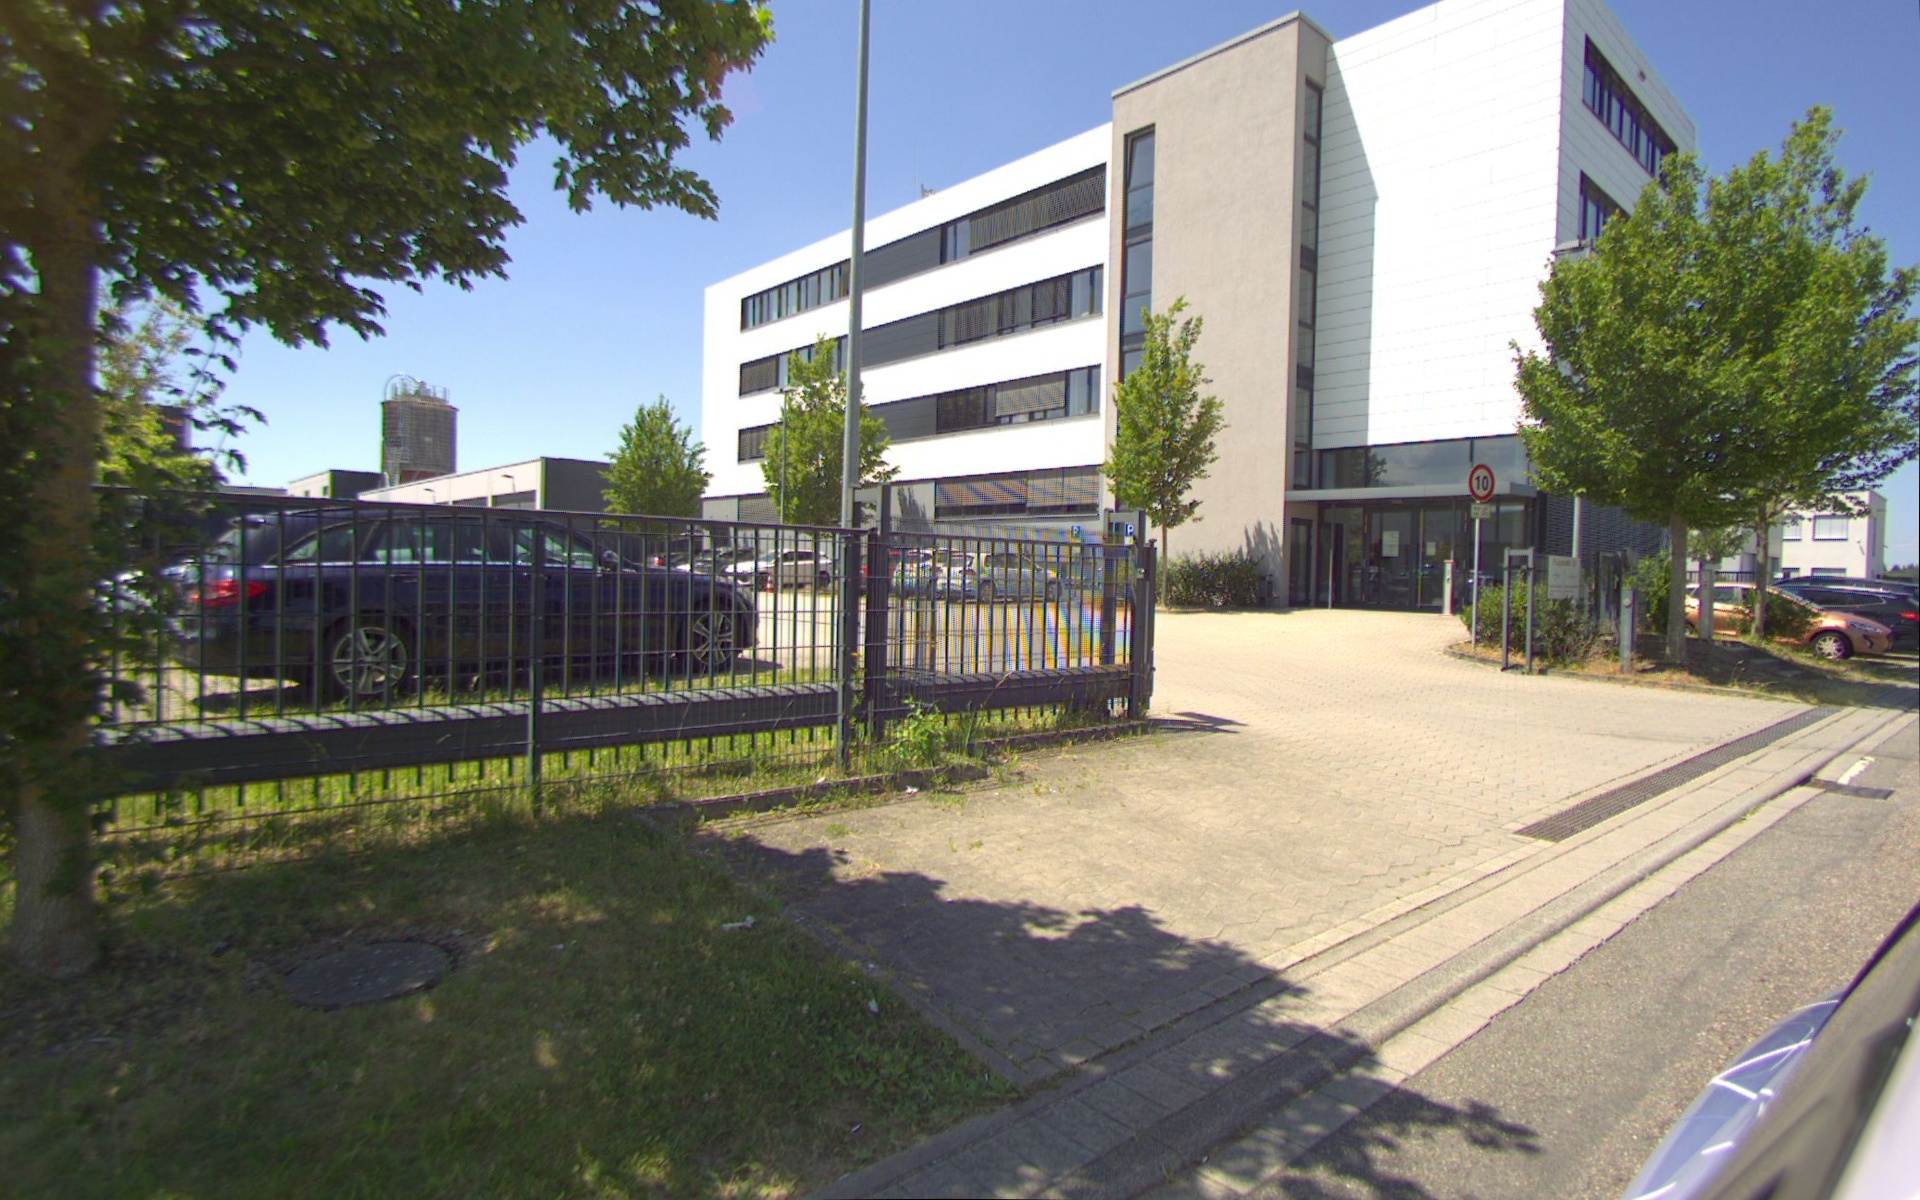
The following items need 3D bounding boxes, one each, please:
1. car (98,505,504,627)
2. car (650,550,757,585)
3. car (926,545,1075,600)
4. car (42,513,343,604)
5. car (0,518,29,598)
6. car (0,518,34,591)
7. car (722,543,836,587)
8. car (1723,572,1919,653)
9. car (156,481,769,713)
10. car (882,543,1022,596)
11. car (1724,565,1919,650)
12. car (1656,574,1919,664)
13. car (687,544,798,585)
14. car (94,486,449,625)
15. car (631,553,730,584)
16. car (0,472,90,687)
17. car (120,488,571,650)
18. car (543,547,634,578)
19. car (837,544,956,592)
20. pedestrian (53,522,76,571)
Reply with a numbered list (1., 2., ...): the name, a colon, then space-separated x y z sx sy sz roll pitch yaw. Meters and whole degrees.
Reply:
1. car: -9.159 -0.518 14.349 4.574 1.450 1.841 -3 4 -43
2. car: -10.697 -1.368 42.332 4.043 1.374 1.618 -1 4 -41
3. car: 1.219 -0.824 29.416 4.148 1.478 1.810 -1 4 -39
4. car: -14.667 -0.830 19.514 4.442 1.552 1.914 -3 4 -43
5. car: -21.112 -0.908 19.968 4.007 1.604 1.914 1 1 -43
6. car: -22.963 -1.063 22.097 4.007 1.604 1.914 1 1 -43
7. car: -6.847 -1.327 38.535 4.043 1.570 1.618 -1 4 -41
8. car: 19.151 0.233 22.083 1.752 1.513 3.718 0 3 -43
9. car: -3.955 -0.124 8.576 4.337 1.472 1.792 -3 4 -43
10. car: -0.207 -0.970 31.553 4.148 1.548 1.810 -1 4 -39
11. car: 20.978 0.128 24.179 1.693 1.787 3.999 0 3 -38
12. car: 16.773 0.306 20.580 1.695 1.513 3.993 0 3 -42
13. car: -8.627 -1.419 40.342 4.043 1.570 1.618 -1 4 -41
14. car: -10.848 -0.725 16.174 4.442 1.923 1.914 -3 4 -43
15. car: -12.152 -1.384 44.112 3.899 1.277 1.618 -1 4 -41
16. car: -9.103 -0.241 7.304 4.170 1.643 1.792 3 0 -44
17. car: -7.537 -0.436 12.761 4.574 1.673 1.841 -3 4 -43
18. car: -18.645 -1.872 50.817 3.971 1.480 1.685 -1 4 -41
19. car: -2.082 -1.078 33.630 3.718 1.513 1.619 -1 4 -39
20. pedestrian: -31.366 -1.871 35.449 0.508 1.678 0.705 1 2 -35
